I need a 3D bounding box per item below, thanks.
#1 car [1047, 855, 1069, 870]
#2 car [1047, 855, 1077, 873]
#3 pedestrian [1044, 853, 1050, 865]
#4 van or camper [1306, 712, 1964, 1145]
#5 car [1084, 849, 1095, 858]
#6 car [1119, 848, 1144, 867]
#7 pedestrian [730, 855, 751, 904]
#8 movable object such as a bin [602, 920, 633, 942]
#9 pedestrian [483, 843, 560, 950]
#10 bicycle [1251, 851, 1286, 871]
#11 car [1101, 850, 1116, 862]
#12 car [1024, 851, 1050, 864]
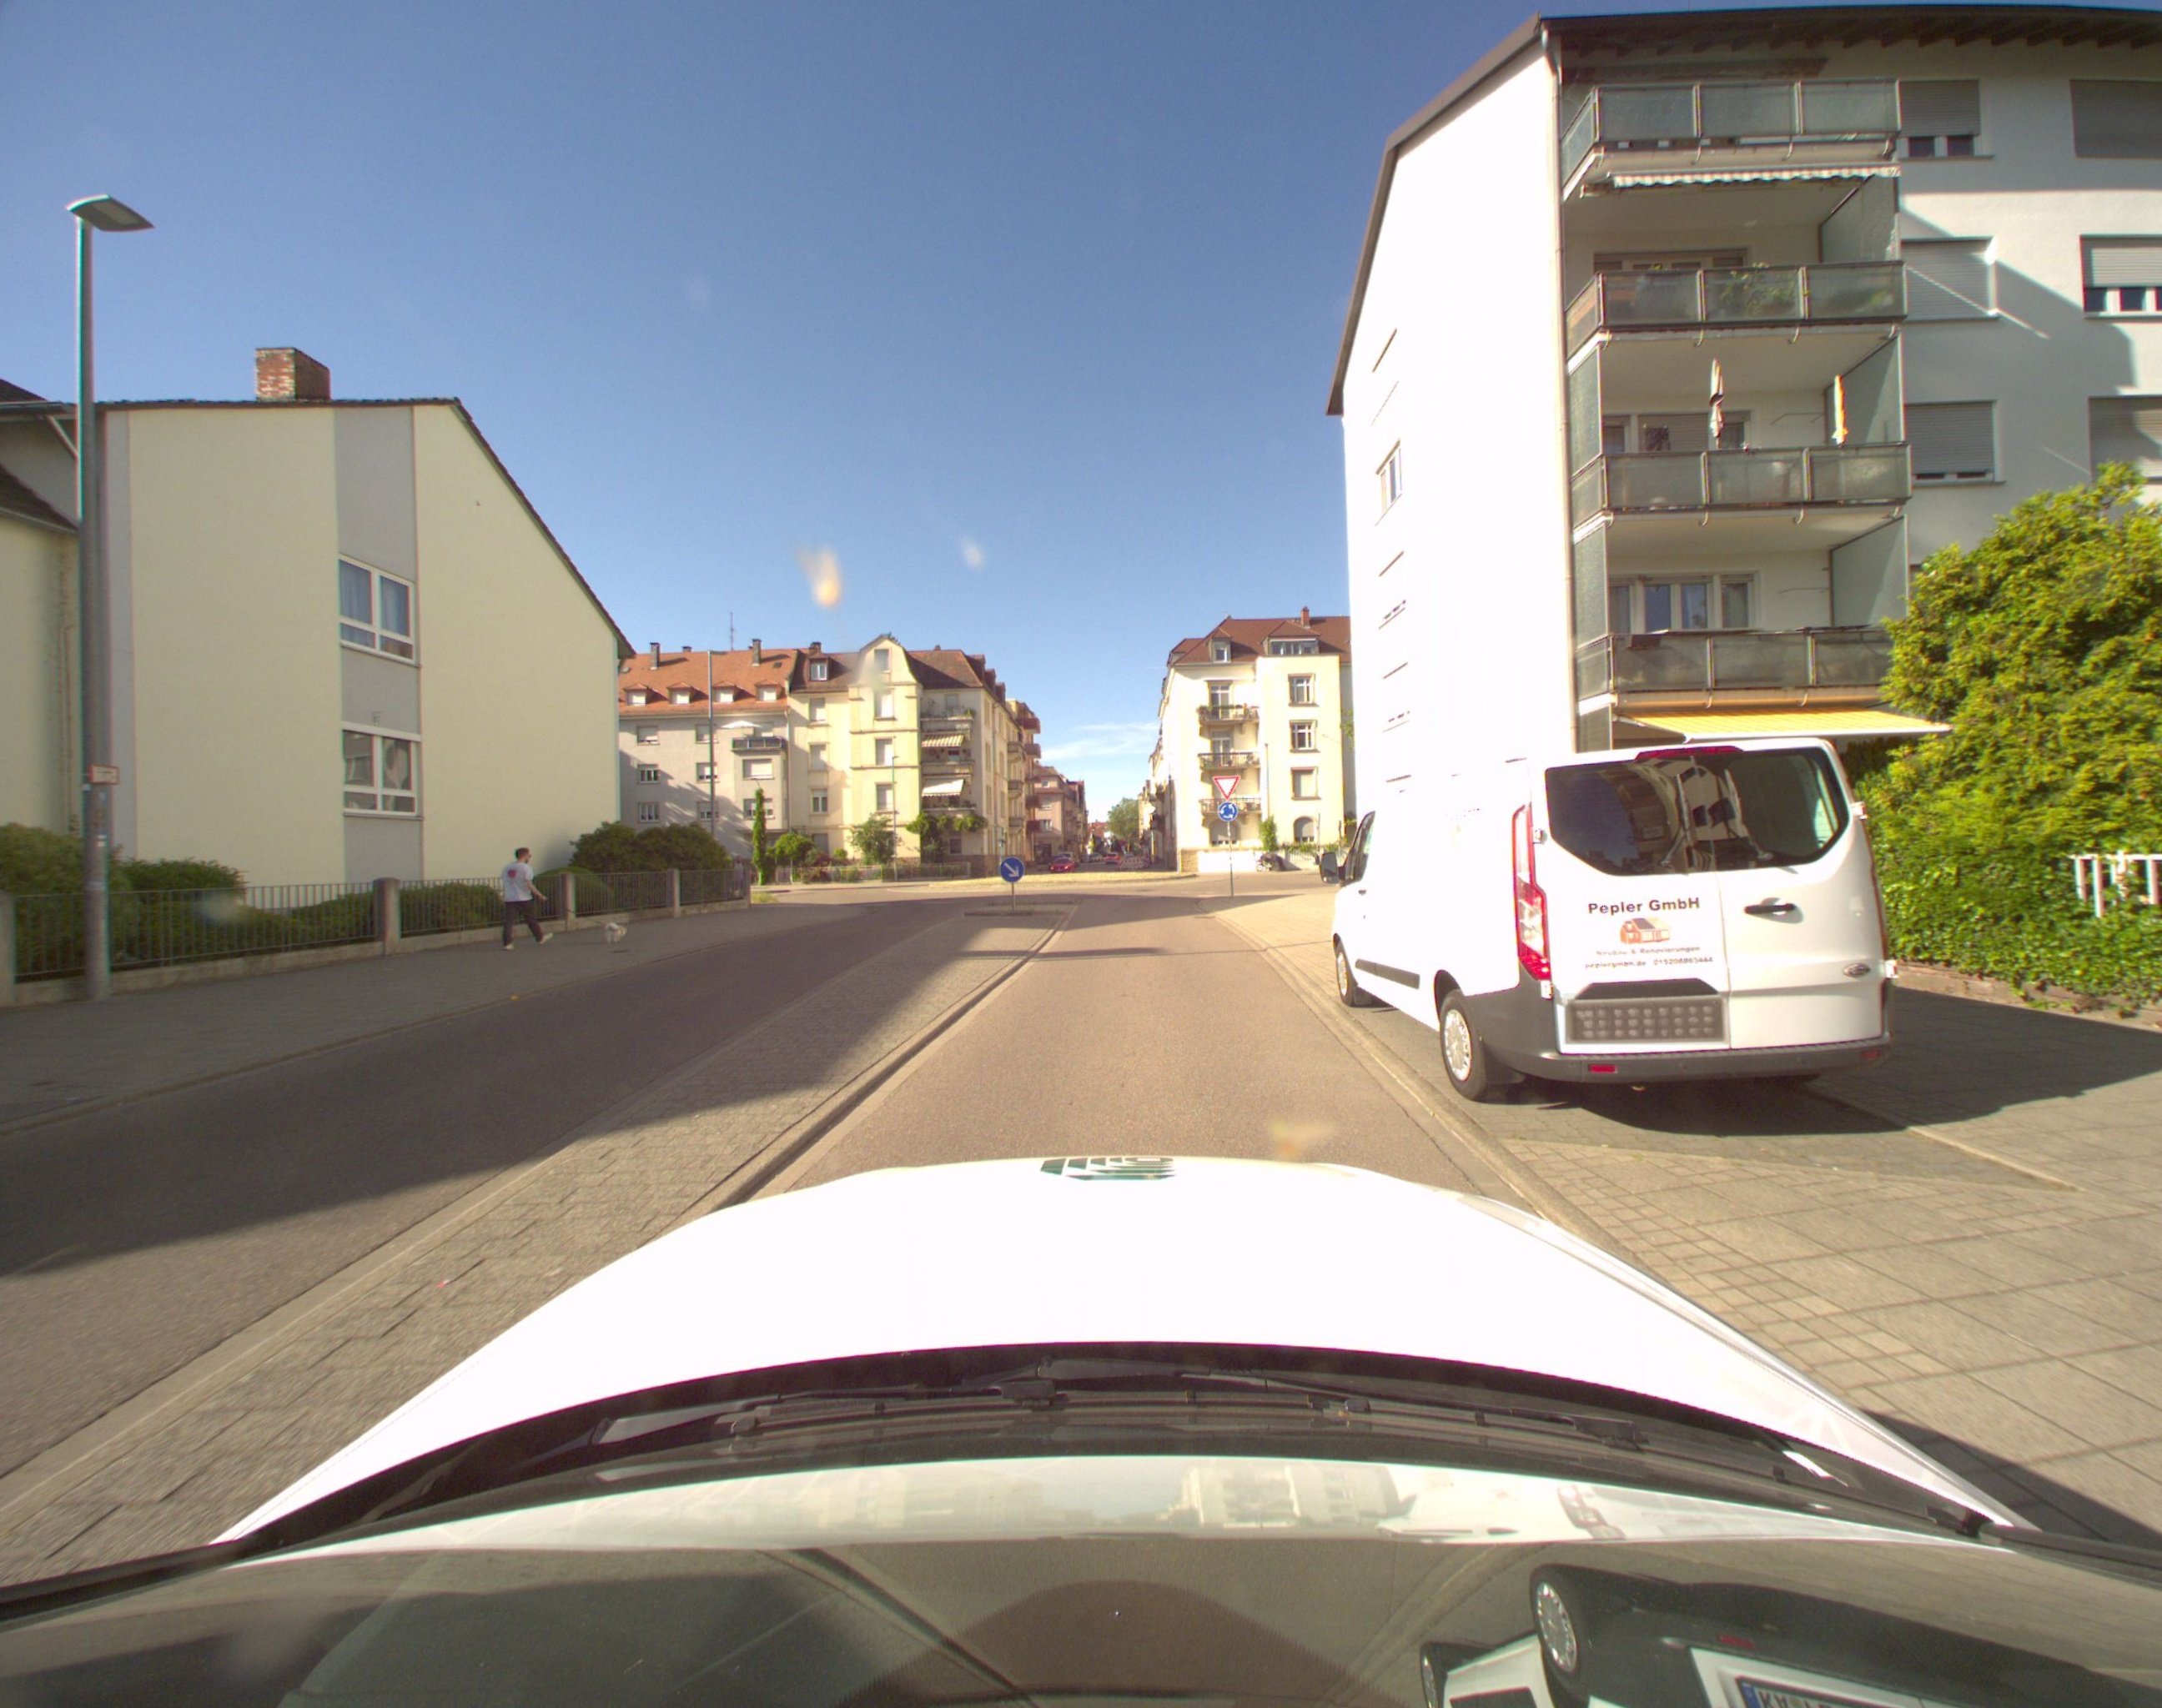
[{"bbox_3d":[-2.292,0.852,83.205,1.986,1.532,4.001,-1,0,1],"label":"car"},{"bbox_3d":[-1.579,0.888,69.415,1.729,1.354,3.680,-2,-3,11],"label":"car"},{"bbox_3d":[-4.867,0.766,117.479,0.796,1.750,0.846,-1,0,4],"label":"pedestrian"},{"bbox_3d":[3.243,0.365,6.206,2.011,1.947,4.709,-3,0,5],"label":"van or camper"},{"bbox_3d":[1.702,-0.023,156.702,1.986,1.629,4.002,-1,0,2],"label":"car"},{"bbox_3d":[5.102,0.368,82.121,2.421,1.811,4.728,-2,0,4],"label":"car"},{"bbox_3d":[-12.040,0.893,28.783,0.570,1.675,0.402,-1,0,-40],"label":"pedestrian"},{"bbox_3d":[-8.188,1.361,14.392,0.218,0.348,0.521,0,0,4],"label":"movable object such as a bin"},{"bbox_3d":[-9.302,0.705,13.561,0.679,1.704,0.825,-2,-3,3],"label":"pedestrian"},{"bbox_3d":[12.572,0.487,54.689,2.148,1.268,0.766,-3,-3,20],"label":"bicycle"},{"bbox_3d":[4.027,0.274,119.090,1.986,1.739,4.002,-2,0,2],"label":"car"},{"bbox_3d":[-7.034,0.522,129.914,3.876,2.013,1.768,-2,0,10],"label":"car"}]
